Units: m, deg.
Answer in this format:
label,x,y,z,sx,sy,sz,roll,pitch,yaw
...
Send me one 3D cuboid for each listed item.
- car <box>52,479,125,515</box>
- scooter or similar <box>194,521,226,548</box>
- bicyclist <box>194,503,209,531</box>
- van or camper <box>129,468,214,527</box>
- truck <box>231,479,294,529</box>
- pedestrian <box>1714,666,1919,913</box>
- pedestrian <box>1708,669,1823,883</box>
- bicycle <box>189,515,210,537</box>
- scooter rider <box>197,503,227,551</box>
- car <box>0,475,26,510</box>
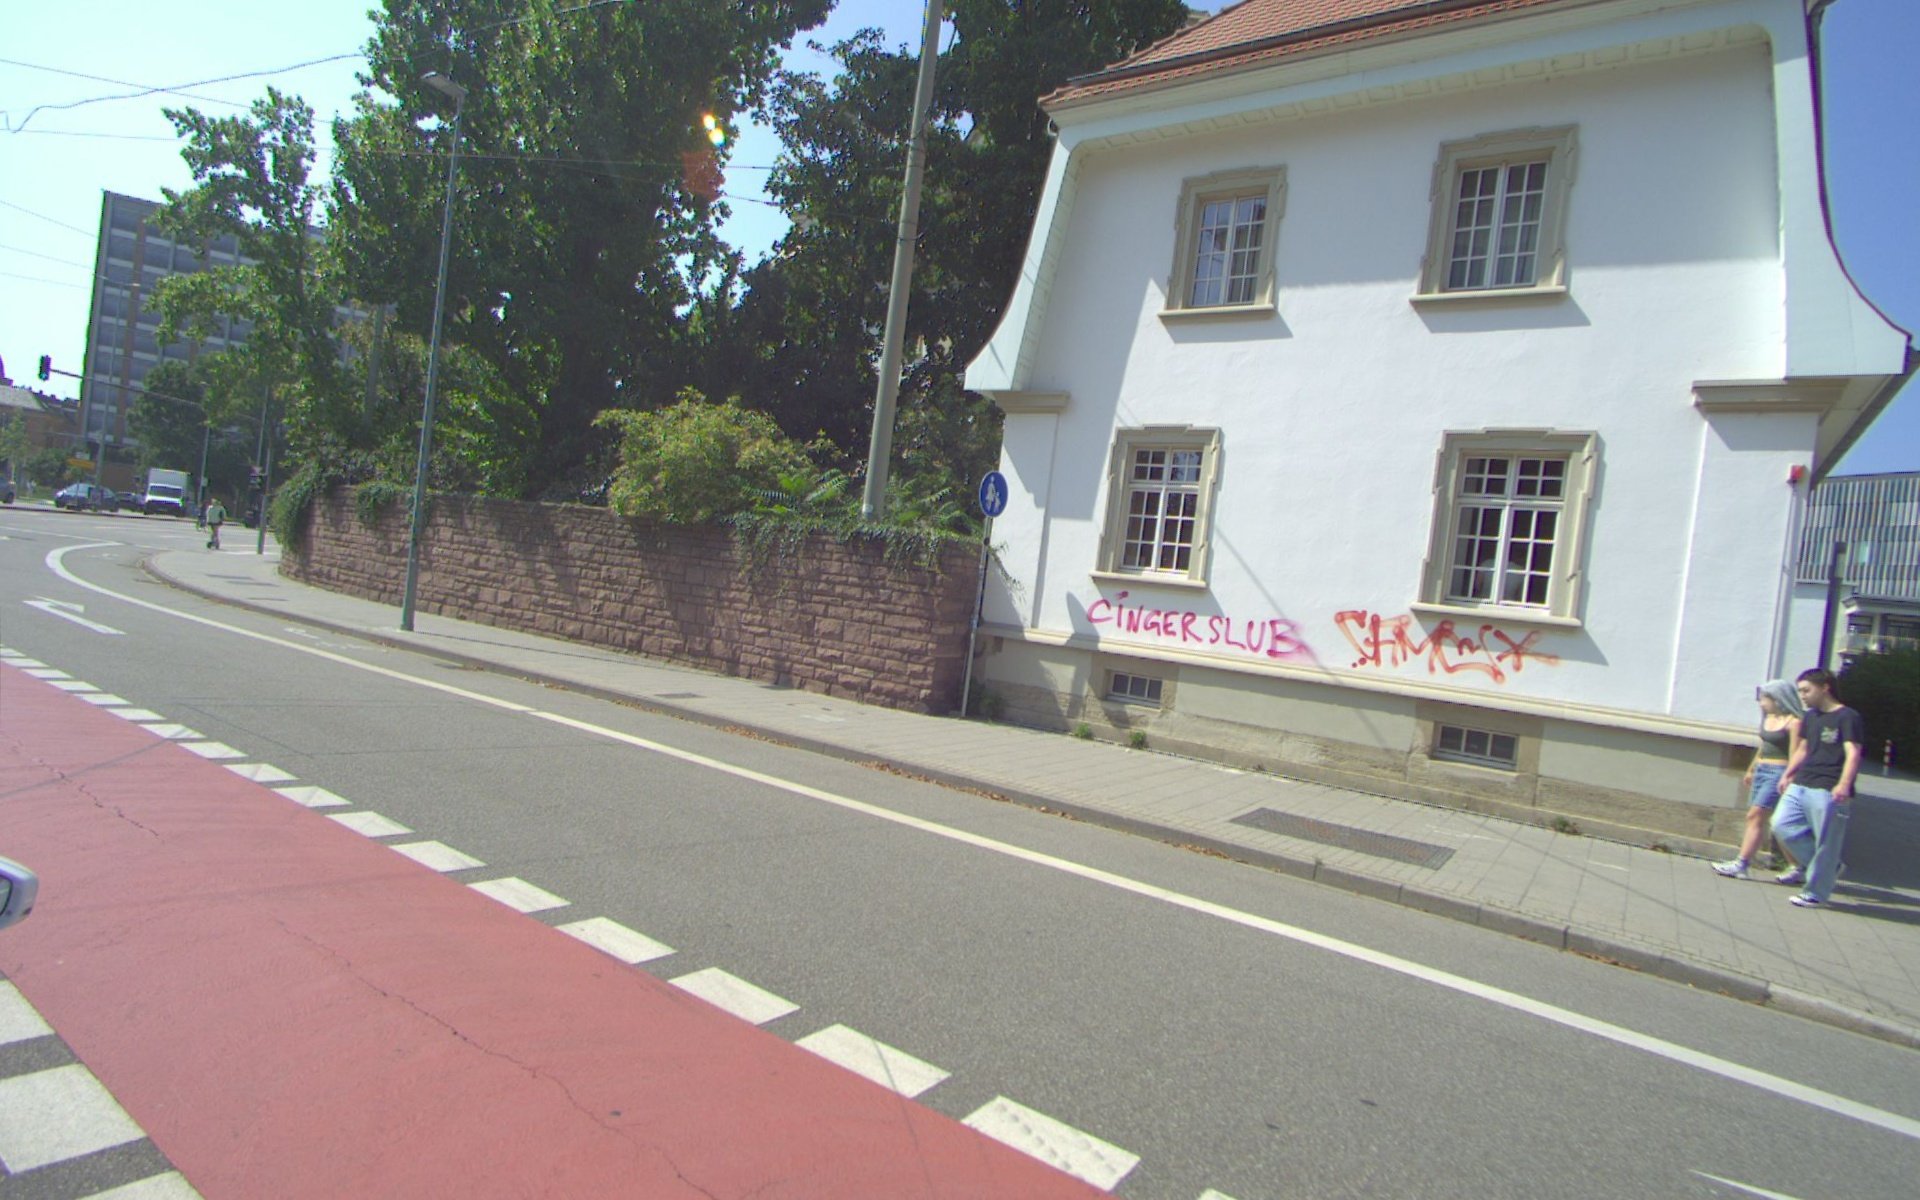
label,x,y,z,sx,sy,sz,roll,pitch,yaw
car,-49.930,-5.862,57.714,1.678,1.549,4.163,7,0,-21
scooter or similar,-29.685,-2.594,39.844,0.767,0.938,1.607,8,0,-31
bicyclist,-41.370,-4.516,54.856,0.445,1.439,0.493,6,1,-22
van or camper,-55.226,-7.077,70.657,2.374,3.347,7.156,7,0,-20
truck,-52.033,-7.075,75.199,2.673,3.025,5.929,7,-1,-26
pedestrian,6.624,1.413,7.823,0.863,1.686,0.729,8,0,20
pedestrian,6.812,1.458,8.537,0.478,1.686,0.619,8,1,28
bicycle,-41.365,-4.010,54.703,0.439,1.130,1.438,6,0,-22
scooter rider,-29.708,-2.902,39.957,0.756,1.797,0.550,7,1,-32
car,-46.216,-5.219,47.280,1.632,1.549,4.308,7,0,-18
